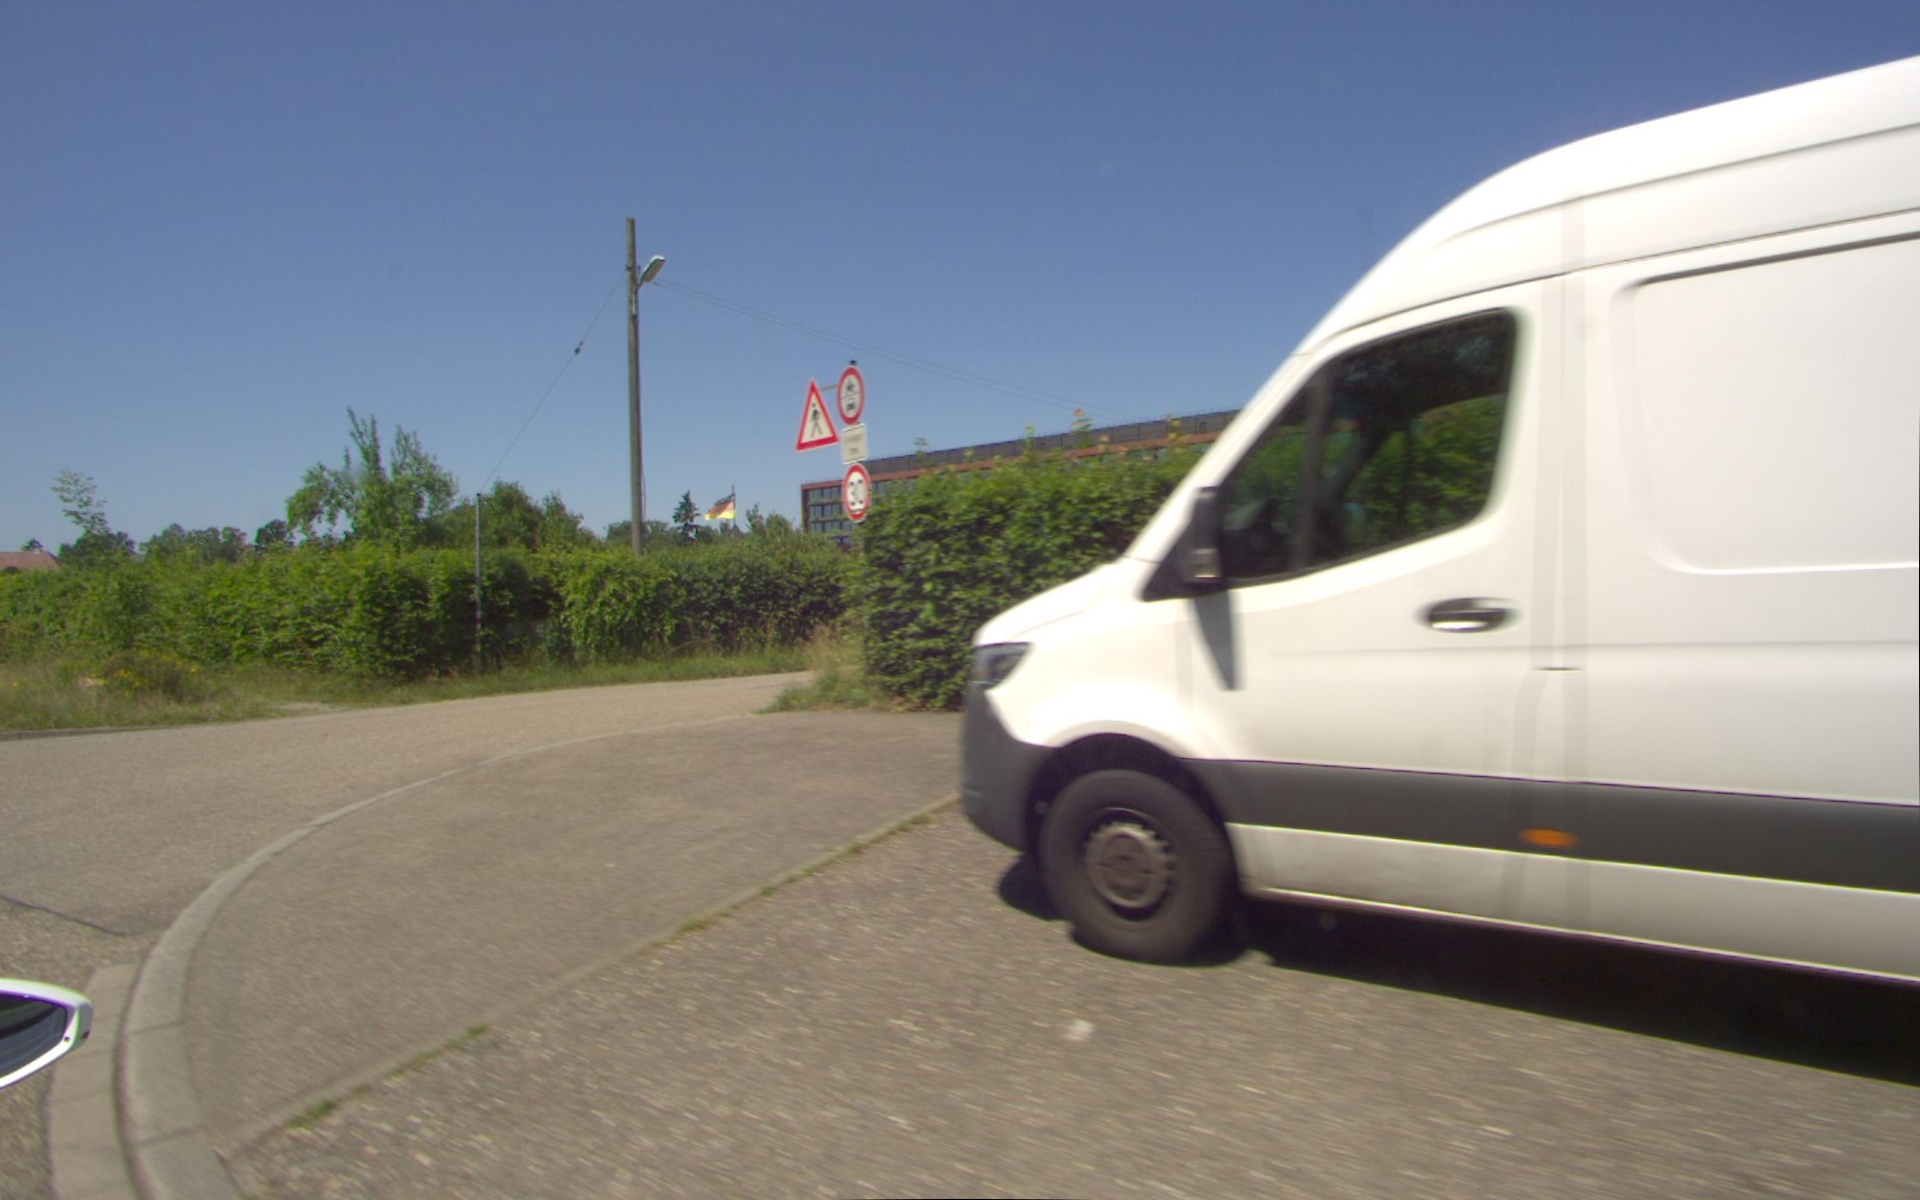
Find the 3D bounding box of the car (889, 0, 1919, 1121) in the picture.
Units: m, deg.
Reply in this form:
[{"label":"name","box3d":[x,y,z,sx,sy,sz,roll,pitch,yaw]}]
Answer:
[{"label":"car","box3d":[3.246,-0.201,2.811,7.066,2.772,1.948,0,4,34]}]
